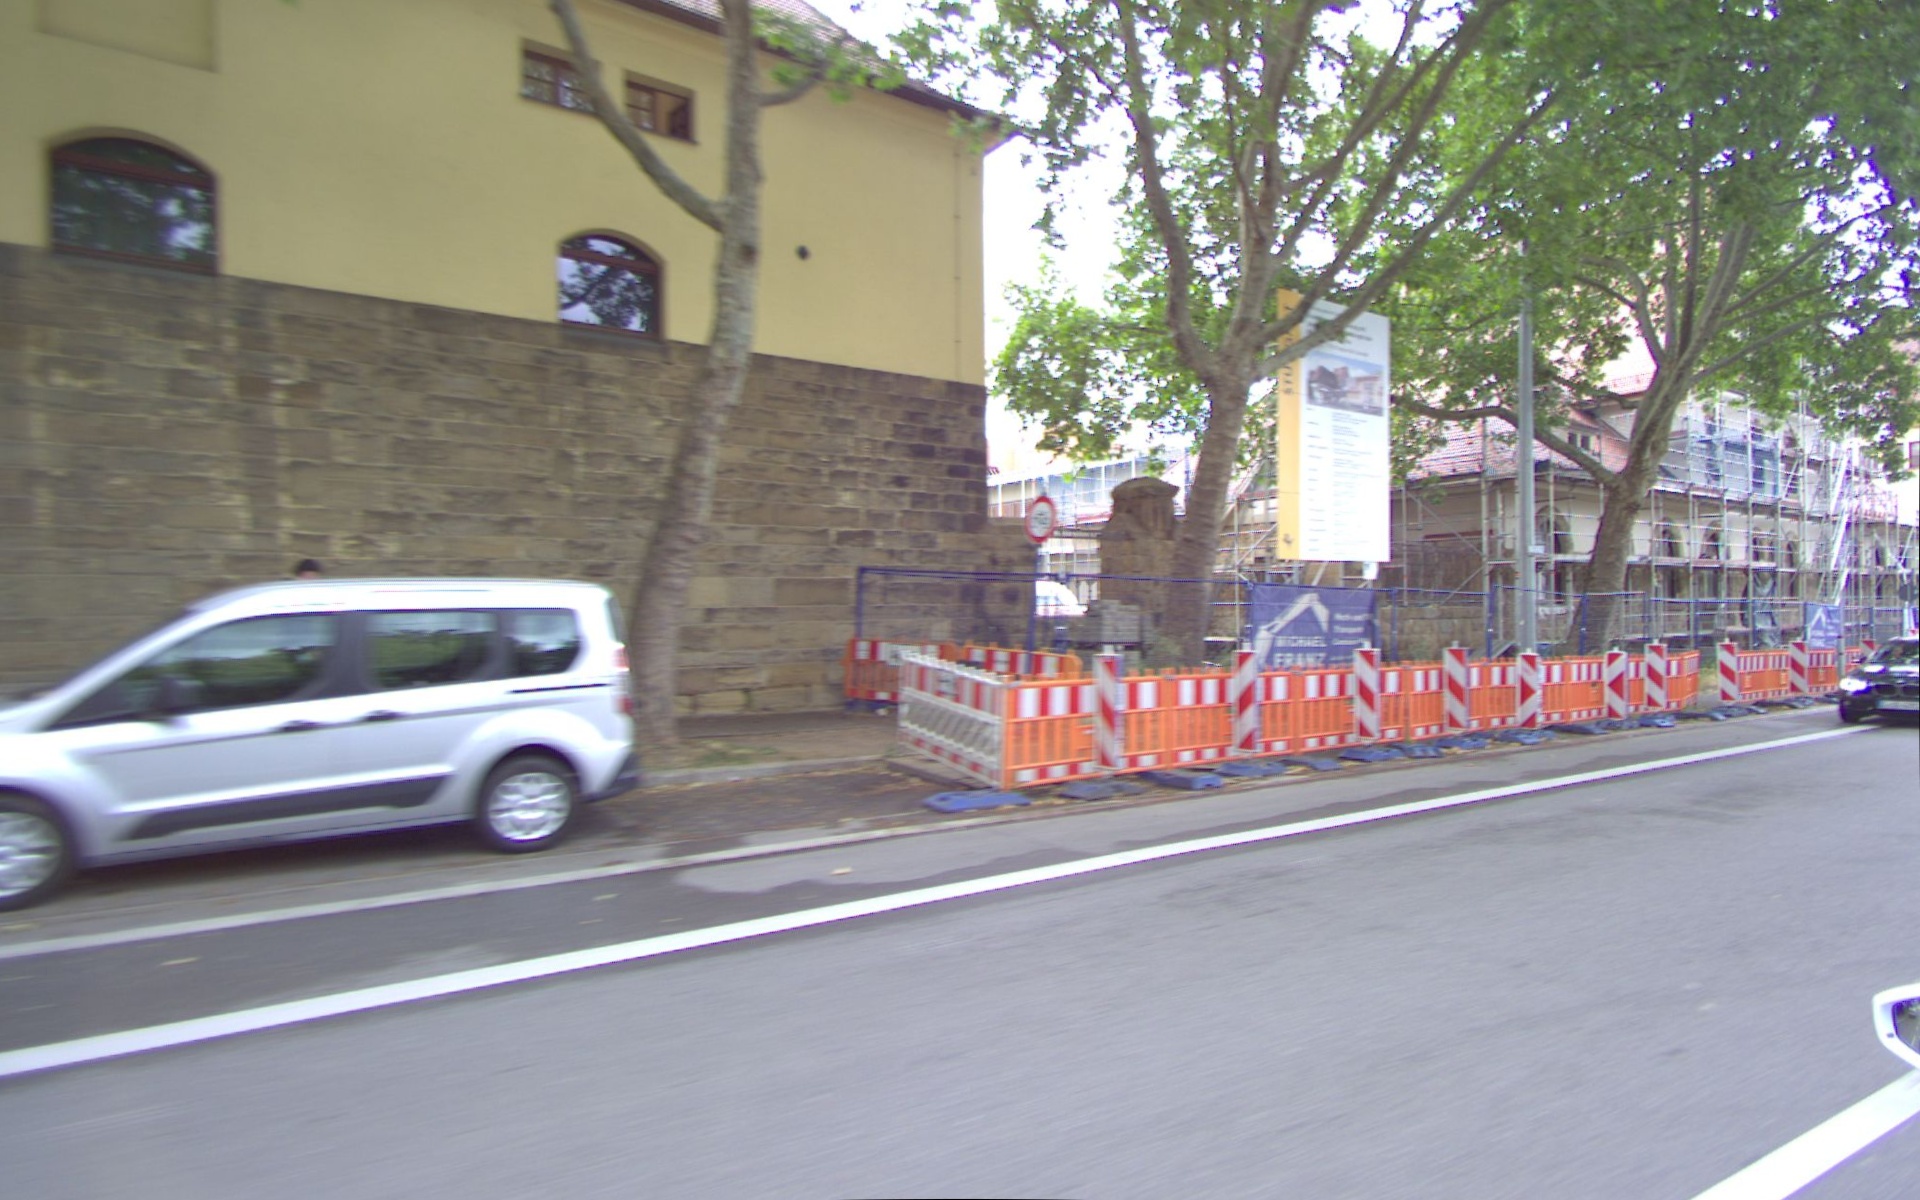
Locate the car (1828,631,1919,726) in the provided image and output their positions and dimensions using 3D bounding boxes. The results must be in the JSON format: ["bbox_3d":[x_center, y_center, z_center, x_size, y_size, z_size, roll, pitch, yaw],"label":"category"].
[{"bbox_3d":[16.283,1.259,16.824,4.207,1.444,1.688,2,-2,-35],"label":"car"}]

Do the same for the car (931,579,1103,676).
[{"bbox_3d":[1.647,0.770,31.767,1.981,2.684,6.001,2,1,-37],"label":"car"}]

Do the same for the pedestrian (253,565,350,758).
[{"bbox_3d":[-6.512,0.586,9.950,0.735,1.823,0.588,2,1,-34],"label":"pedestrian"}]

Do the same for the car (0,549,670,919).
[{"bbox_3d":[-4.375,0.727,6.669,4.371,1.901,1.822,1,-1,-35],"label":"car"}]
